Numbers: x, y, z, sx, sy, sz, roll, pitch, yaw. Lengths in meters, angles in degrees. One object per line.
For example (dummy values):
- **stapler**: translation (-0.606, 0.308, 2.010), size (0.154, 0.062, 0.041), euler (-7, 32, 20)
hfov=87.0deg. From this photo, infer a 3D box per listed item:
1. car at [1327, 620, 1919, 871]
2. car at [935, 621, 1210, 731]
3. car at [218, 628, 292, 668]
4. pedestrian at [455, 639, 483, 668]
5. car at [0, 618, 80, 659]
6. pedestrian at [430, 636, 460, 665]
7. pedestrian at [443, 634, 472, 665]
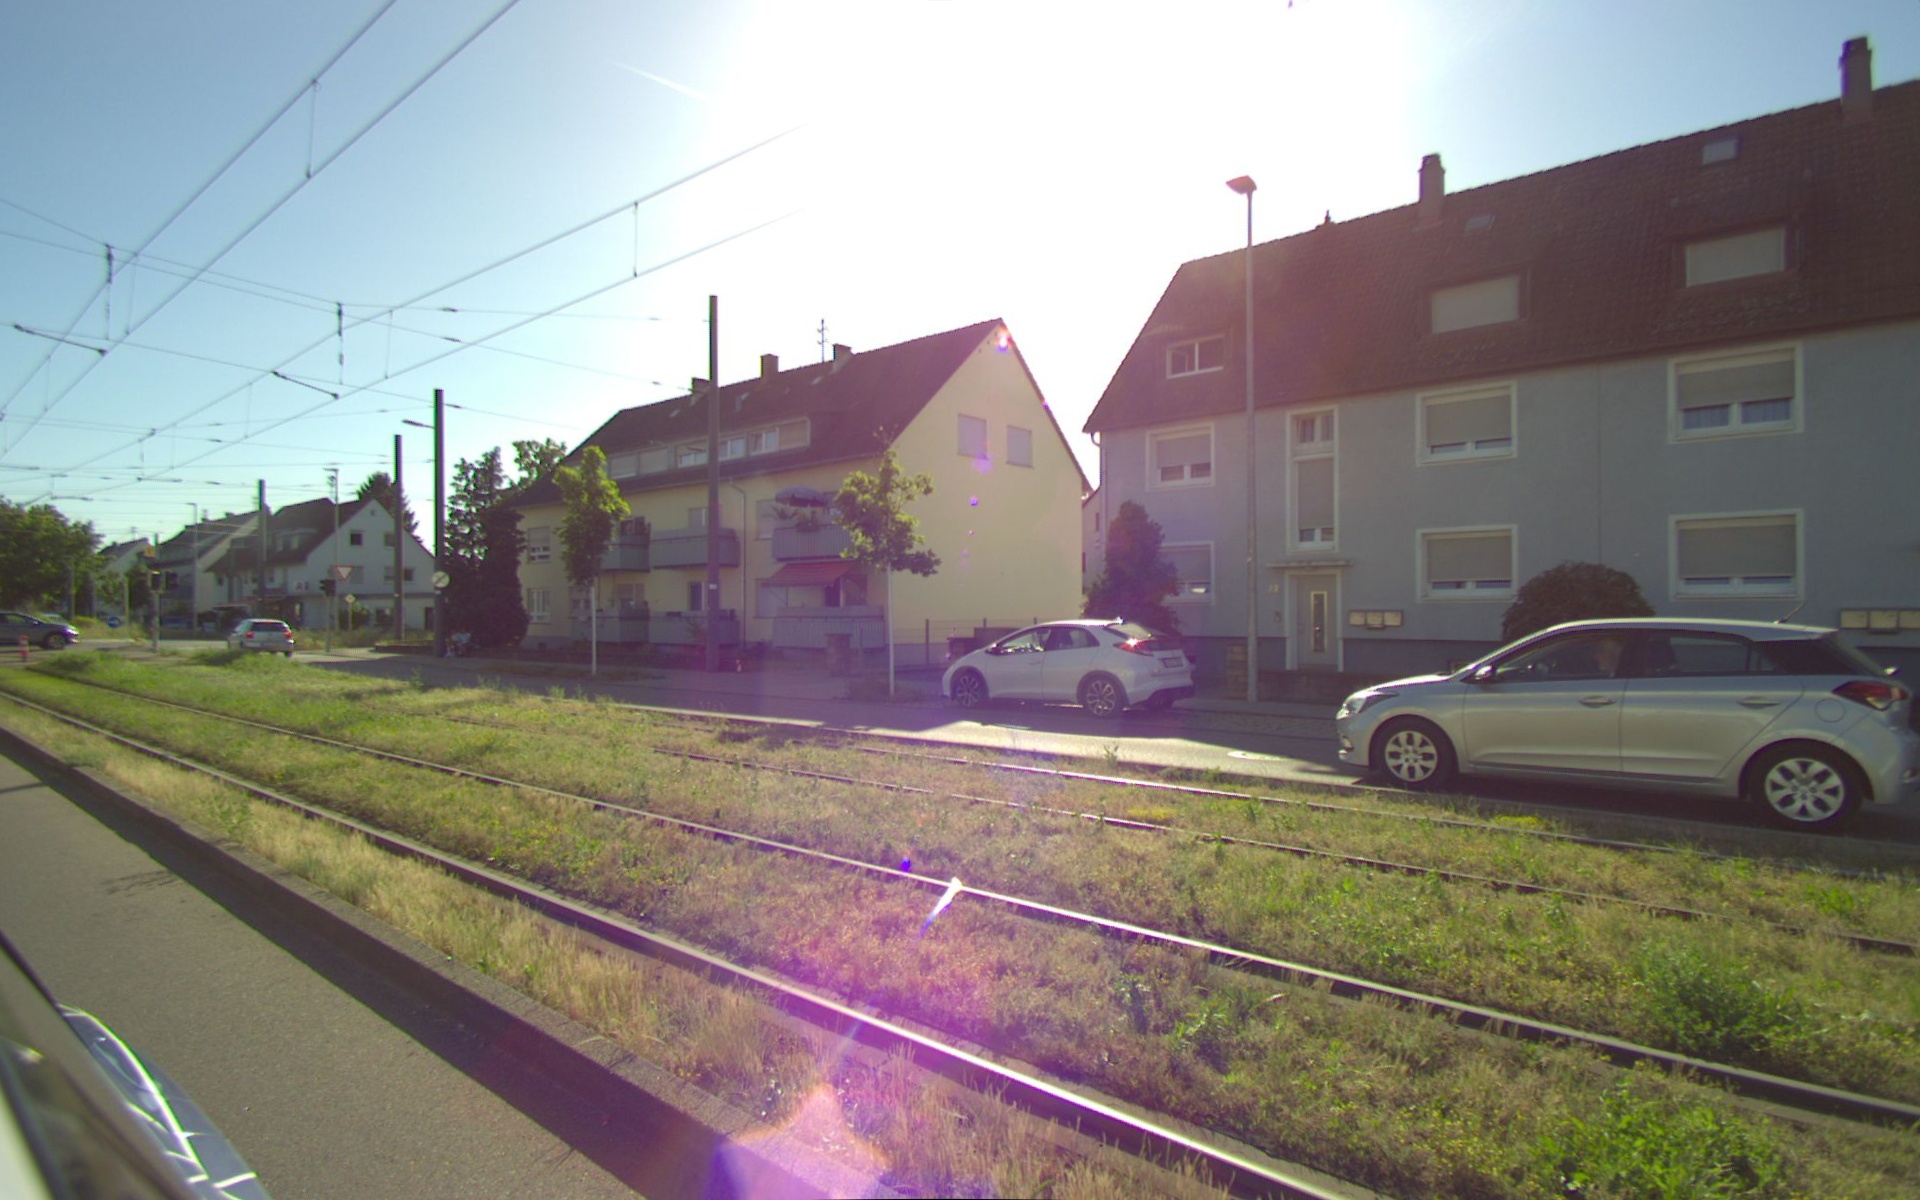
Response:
- **car**: translation (5.285, 0.951, 8.193), size (4.024, 1.502, 1.689), euler (0, -1, 43)
- **car**: translation (1.689, 1.109, 16.187), size (4.213, 1.529, 1.674), euler (-1, -2, 42)
- **car**: translation (-26.930, 1.791, 38.617), size (3.658, 1.422, 1.533), euler (-1, -2, 42)
- **pedestrian**: translation (-18.029, 1.953, 37.167), size (0.590, 1.013, 0.720), euler (1, 0, 17)
- **car**: translation (-38.197, 1.532, 40.677), size (1.828, 1.591, 3.950), euler (-1, -1, 37)
- **pedestrian**: translation (-19.353, 1.895, 38.027), size (0.687, 1.054, 0.809), euler (0, -1, 38)
- **pedestrian**: translation (-18.637, 1.825, 37.545), size (0.619, 1.073, 0.818), euler (1, 0, 8)
